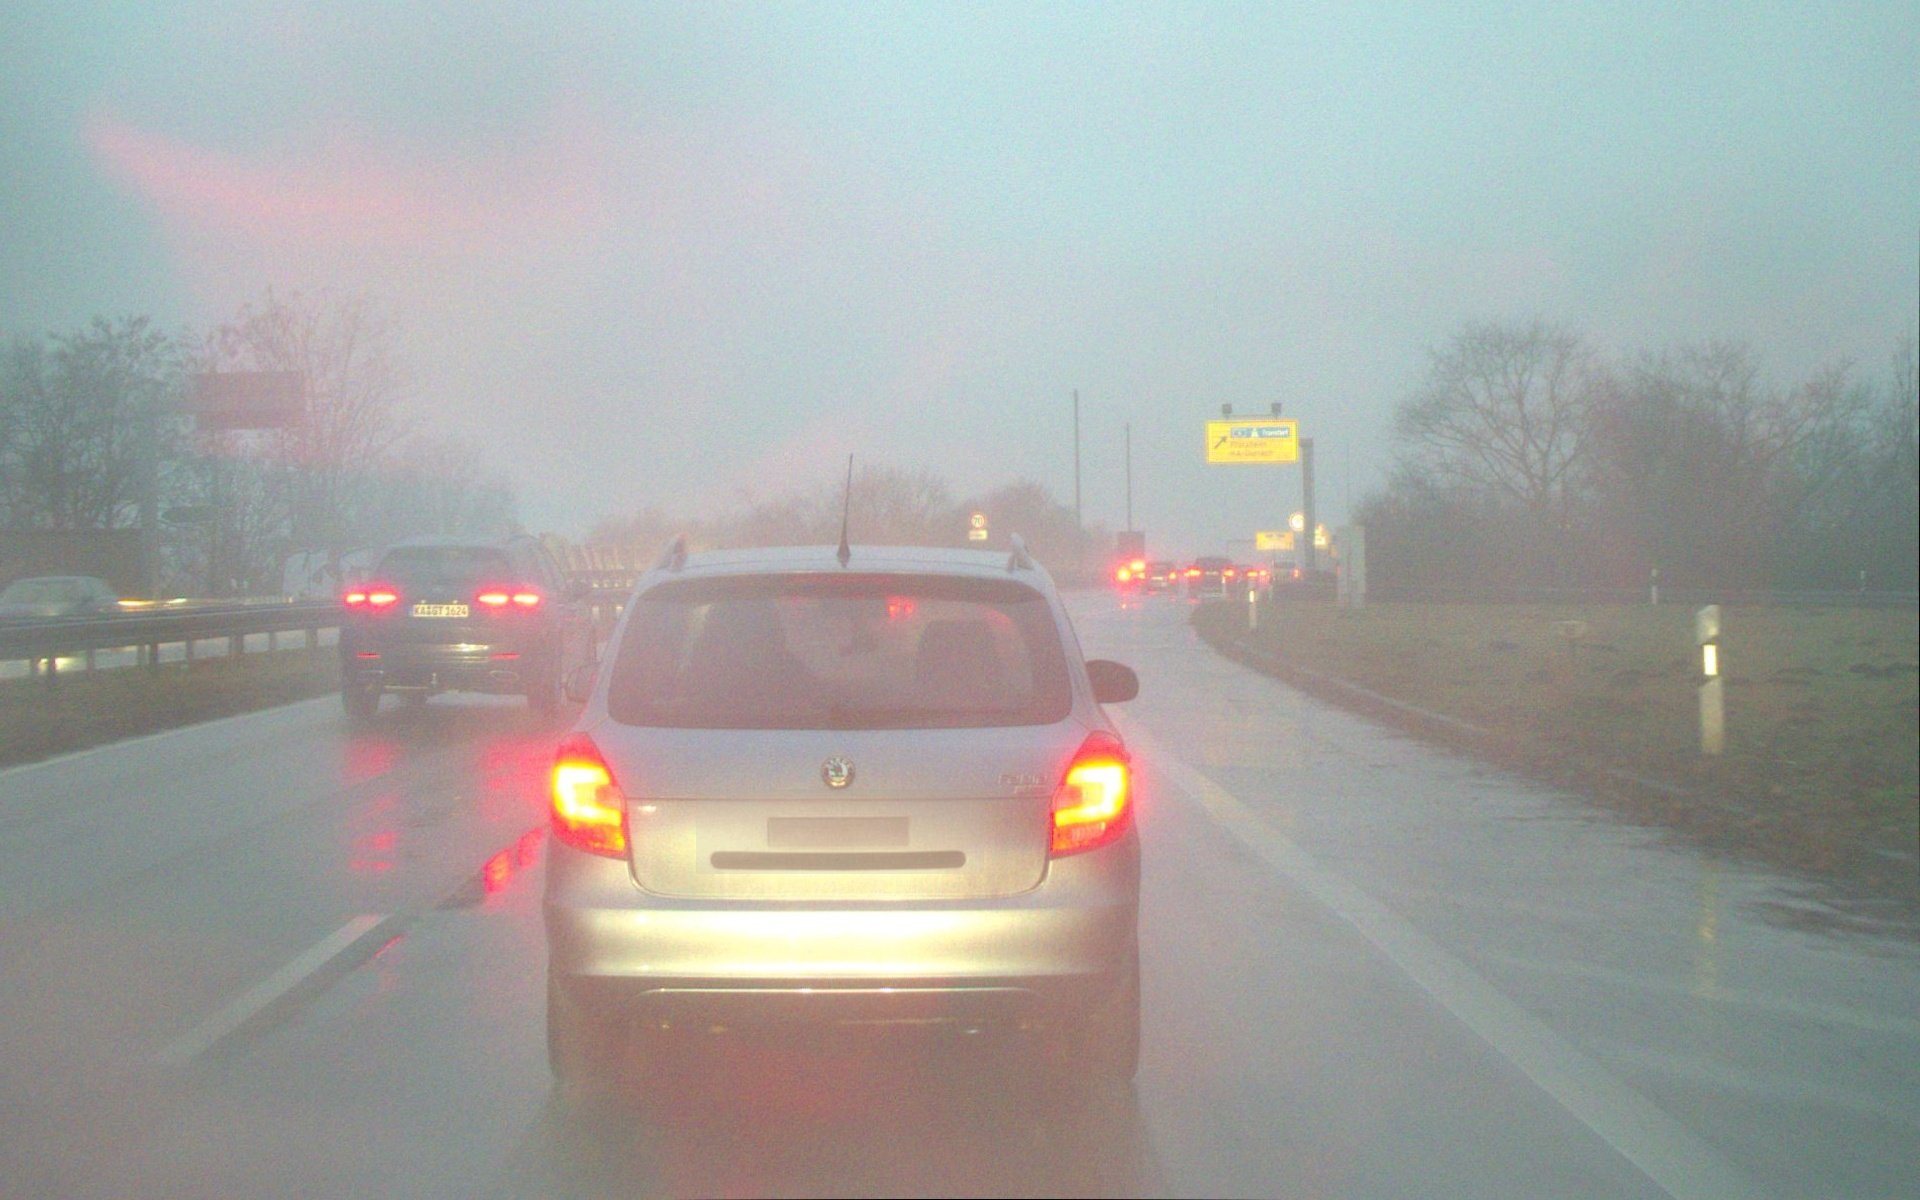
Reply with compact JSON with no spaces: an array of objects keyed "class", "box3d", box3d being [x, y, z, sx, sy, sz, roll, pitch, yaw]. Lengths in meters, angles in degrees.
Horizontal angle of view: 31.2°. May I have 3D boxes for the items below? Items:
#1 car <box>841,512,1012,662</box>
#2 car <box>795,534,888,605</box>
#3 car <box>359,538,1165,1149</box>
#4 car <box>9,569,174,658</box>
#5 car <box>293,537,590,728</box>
[{"class":"car","box3d":[-0.371,-0.196,43.107,1.897,1.761,4.308,-1,1,2]},{"class":"car","box3d":[-2.641,-0.704,77.440,1.789,1.540,4.000,-1,1,2]},{"class":"car","box3d":[-0.449,0.599,10.657,1.993,1.495,4.137,-1,0,1]},{"class":"car","box3d":[-15.561,0.223,61.789,1.783,1.528,4.052,-1,0,2]},{"class":"car","box3d":[-4.635,0.246,31.331,1.993,1.596,4.308,1,1,1]}]
